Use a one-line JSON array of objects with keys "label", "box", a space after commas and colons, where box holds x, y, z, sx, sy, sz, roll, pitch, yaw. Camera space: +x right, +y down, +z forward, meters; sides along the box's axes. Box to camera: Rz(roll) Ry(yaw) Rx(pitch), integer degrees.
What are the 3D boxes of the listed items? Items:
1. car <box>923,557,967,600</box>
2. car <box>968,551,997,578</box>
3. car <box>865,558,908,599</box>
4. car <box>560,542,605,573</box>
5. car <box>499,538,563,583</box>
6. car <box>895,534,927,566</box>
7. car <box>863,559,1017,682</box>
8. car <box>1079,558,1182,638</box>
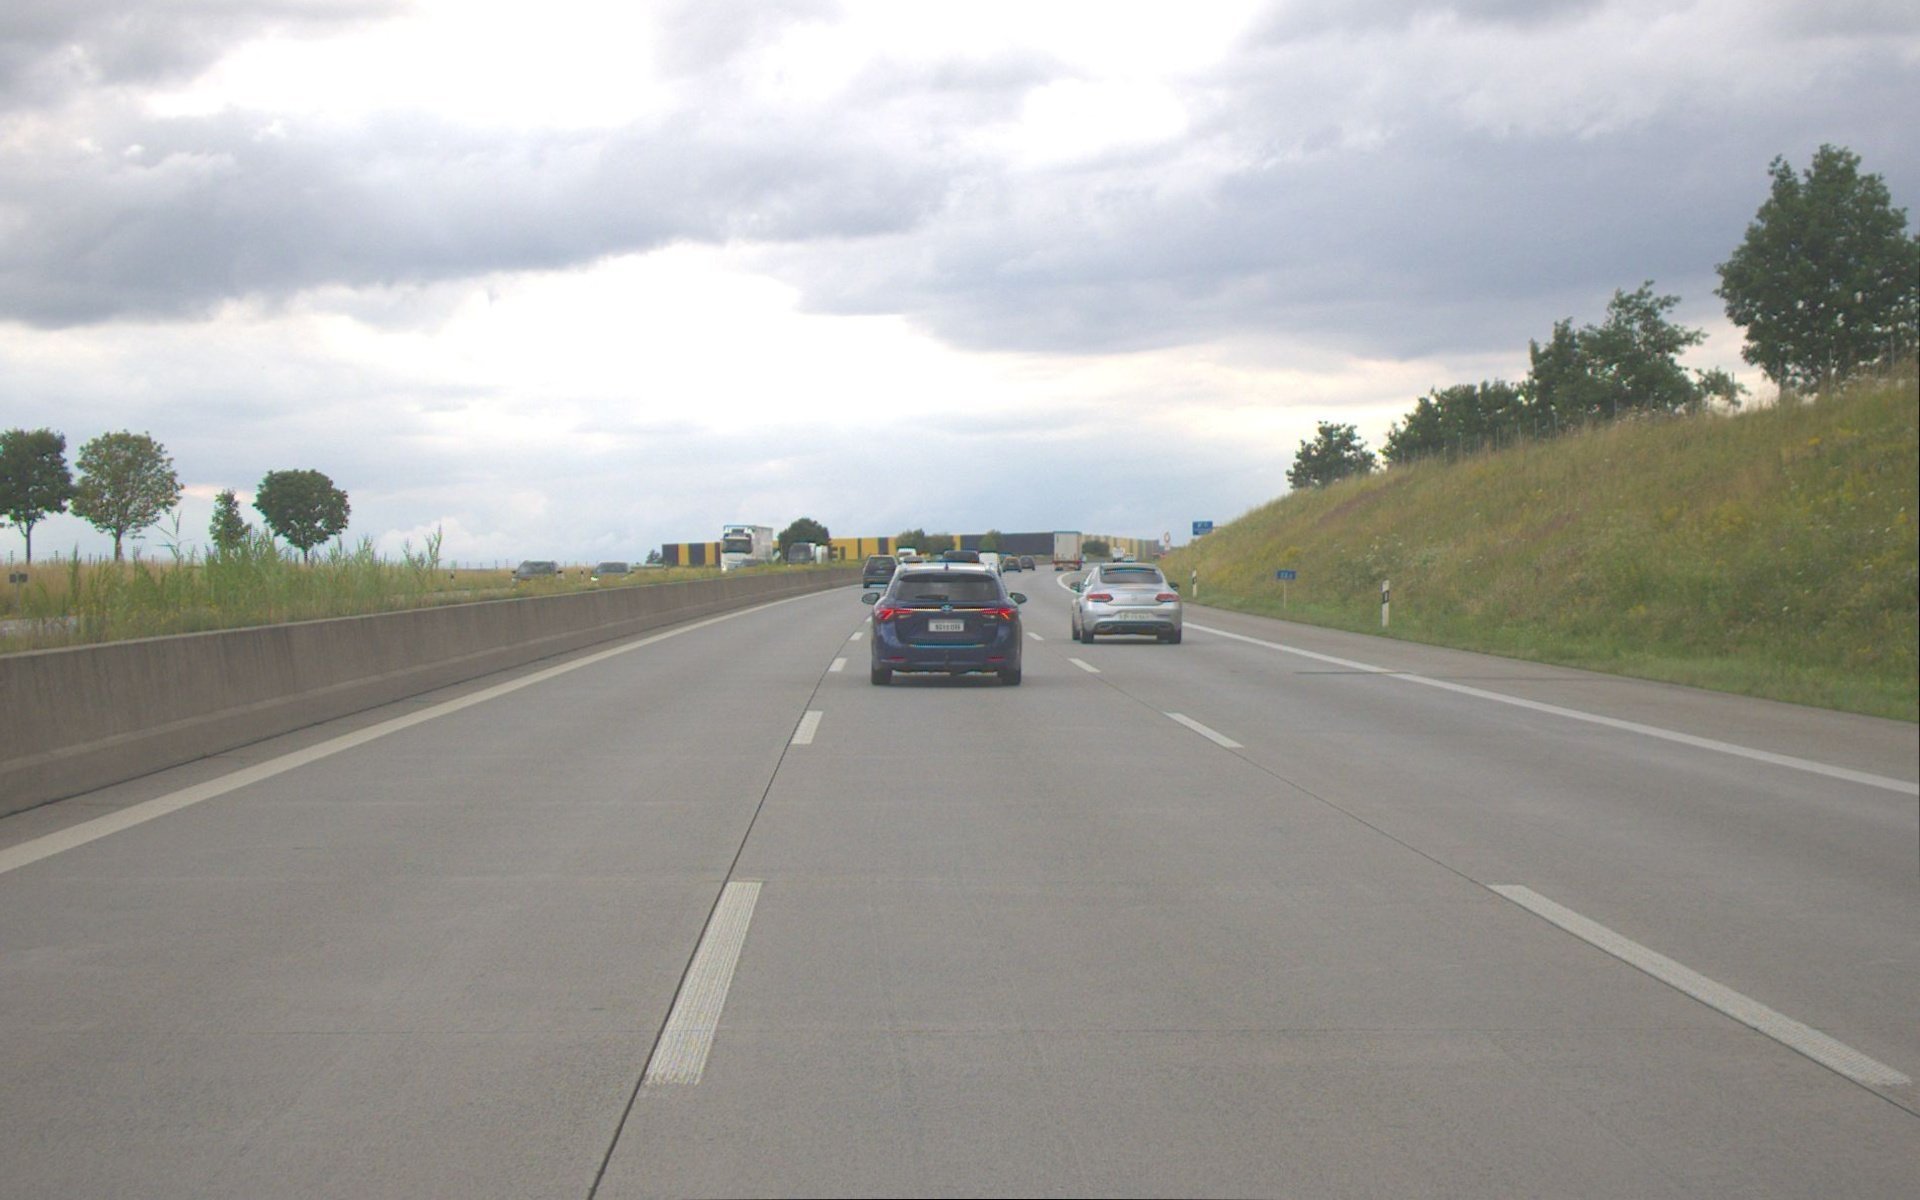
[{"label": "car", "box": [-0.740, -1.024, 165.919, 1.993, 2.007, 4.000, 0, 0, -2]}, {"label": "car", "box": [1.703, -2.674, 259.255, 1.994, 2.007, 4.000, 0, 0, 3]}, {"label": "car", "box": [-3.691, -1.076, 171.489, 2.046, 2.007, 4.000, 0, 0, -2]}, {"label": "car", "box": [-17.362, -1.960, 158.283, 1.661, 1.394, 4.000, 0, 1, 0]}, {"label": "car", "box": [-16.524, -1.531, 132.652, 1.993, 1.678, 4.063, 0, 1, 0]}, {"label": "car", "box": [-3.229, -3.286, 225.894, 1.993, 2.007, 4.000, 0, 0, -2]}, {"label": "car", "box": [-0.204, 0.217, 41.486, 1.774, 1.408, 4.000, 0, 0, 1]}, {"label": "car", "box": [3.068, -0.044, 62.074, 1.789, 1.399, 4.221, 0, 0, 2]}]
